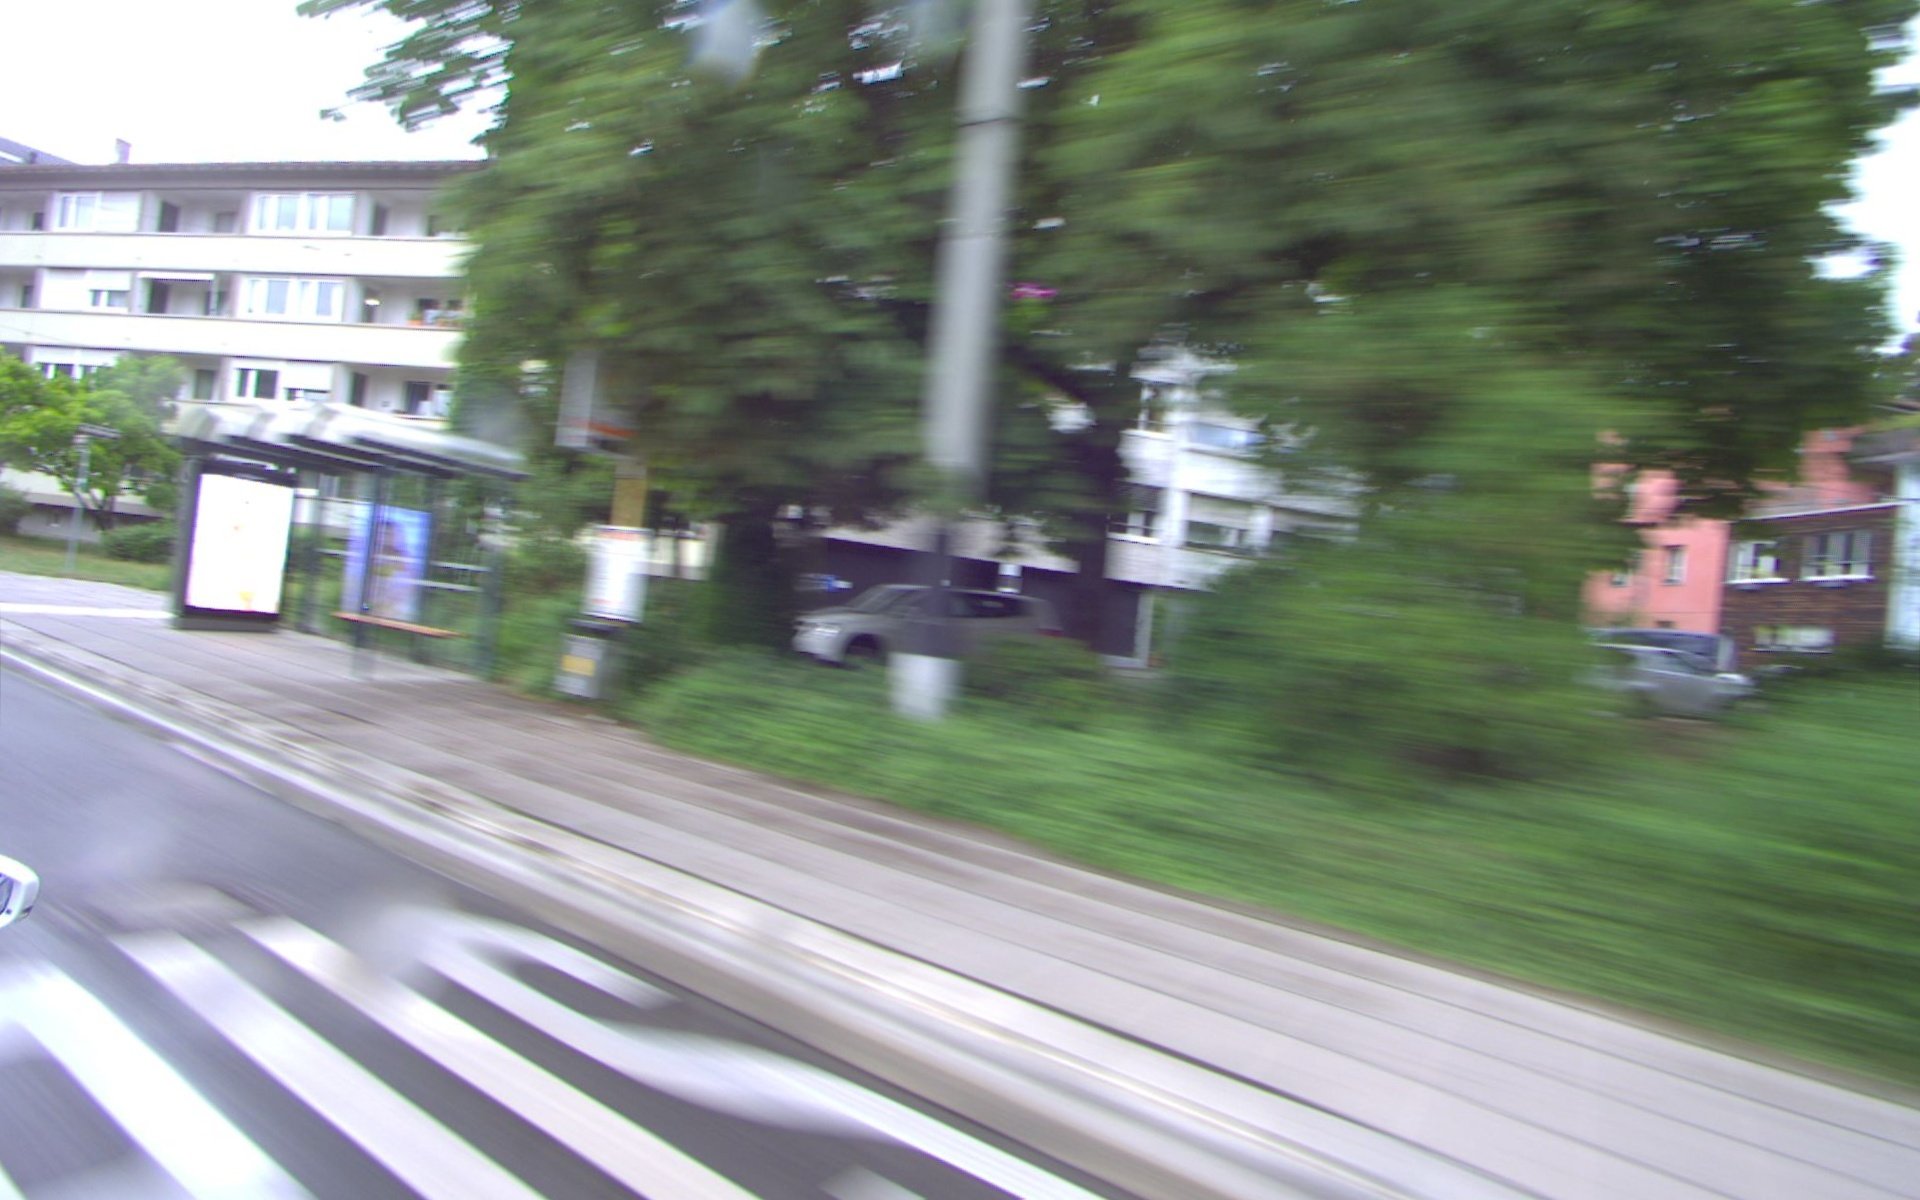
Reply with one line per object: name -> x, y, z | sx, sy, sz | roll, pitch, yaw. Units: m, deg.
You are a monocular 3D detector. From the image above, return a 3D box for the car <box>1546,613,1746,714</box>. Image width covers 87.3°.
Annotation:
car -> 17.371, 1.596, 25.521 | 3.939, 1.999, 1.996 | 8, -3, -15

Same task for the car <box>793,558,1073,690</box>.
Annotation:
car -> -0.489, 0.441, 17.202 | 4.322, 1.576, 1.836 | 8, -2, -18

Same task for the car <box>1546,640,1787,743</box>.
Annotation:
car -> 13.884, 1.785, 19.839 | 3.776, 1.461, 1.740 | 8, -2, -14

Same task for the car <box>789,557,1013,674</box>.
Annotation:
car -> -1.237, 0.344, 20.444 | 4.136, 1.714, 1.839 | 8, -2, -14

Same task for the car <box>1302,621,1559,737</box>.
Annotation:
car -> 8.702, 1.437, 18.723 | 3.933, 1.581, 1.839 | 8, -2, -14
